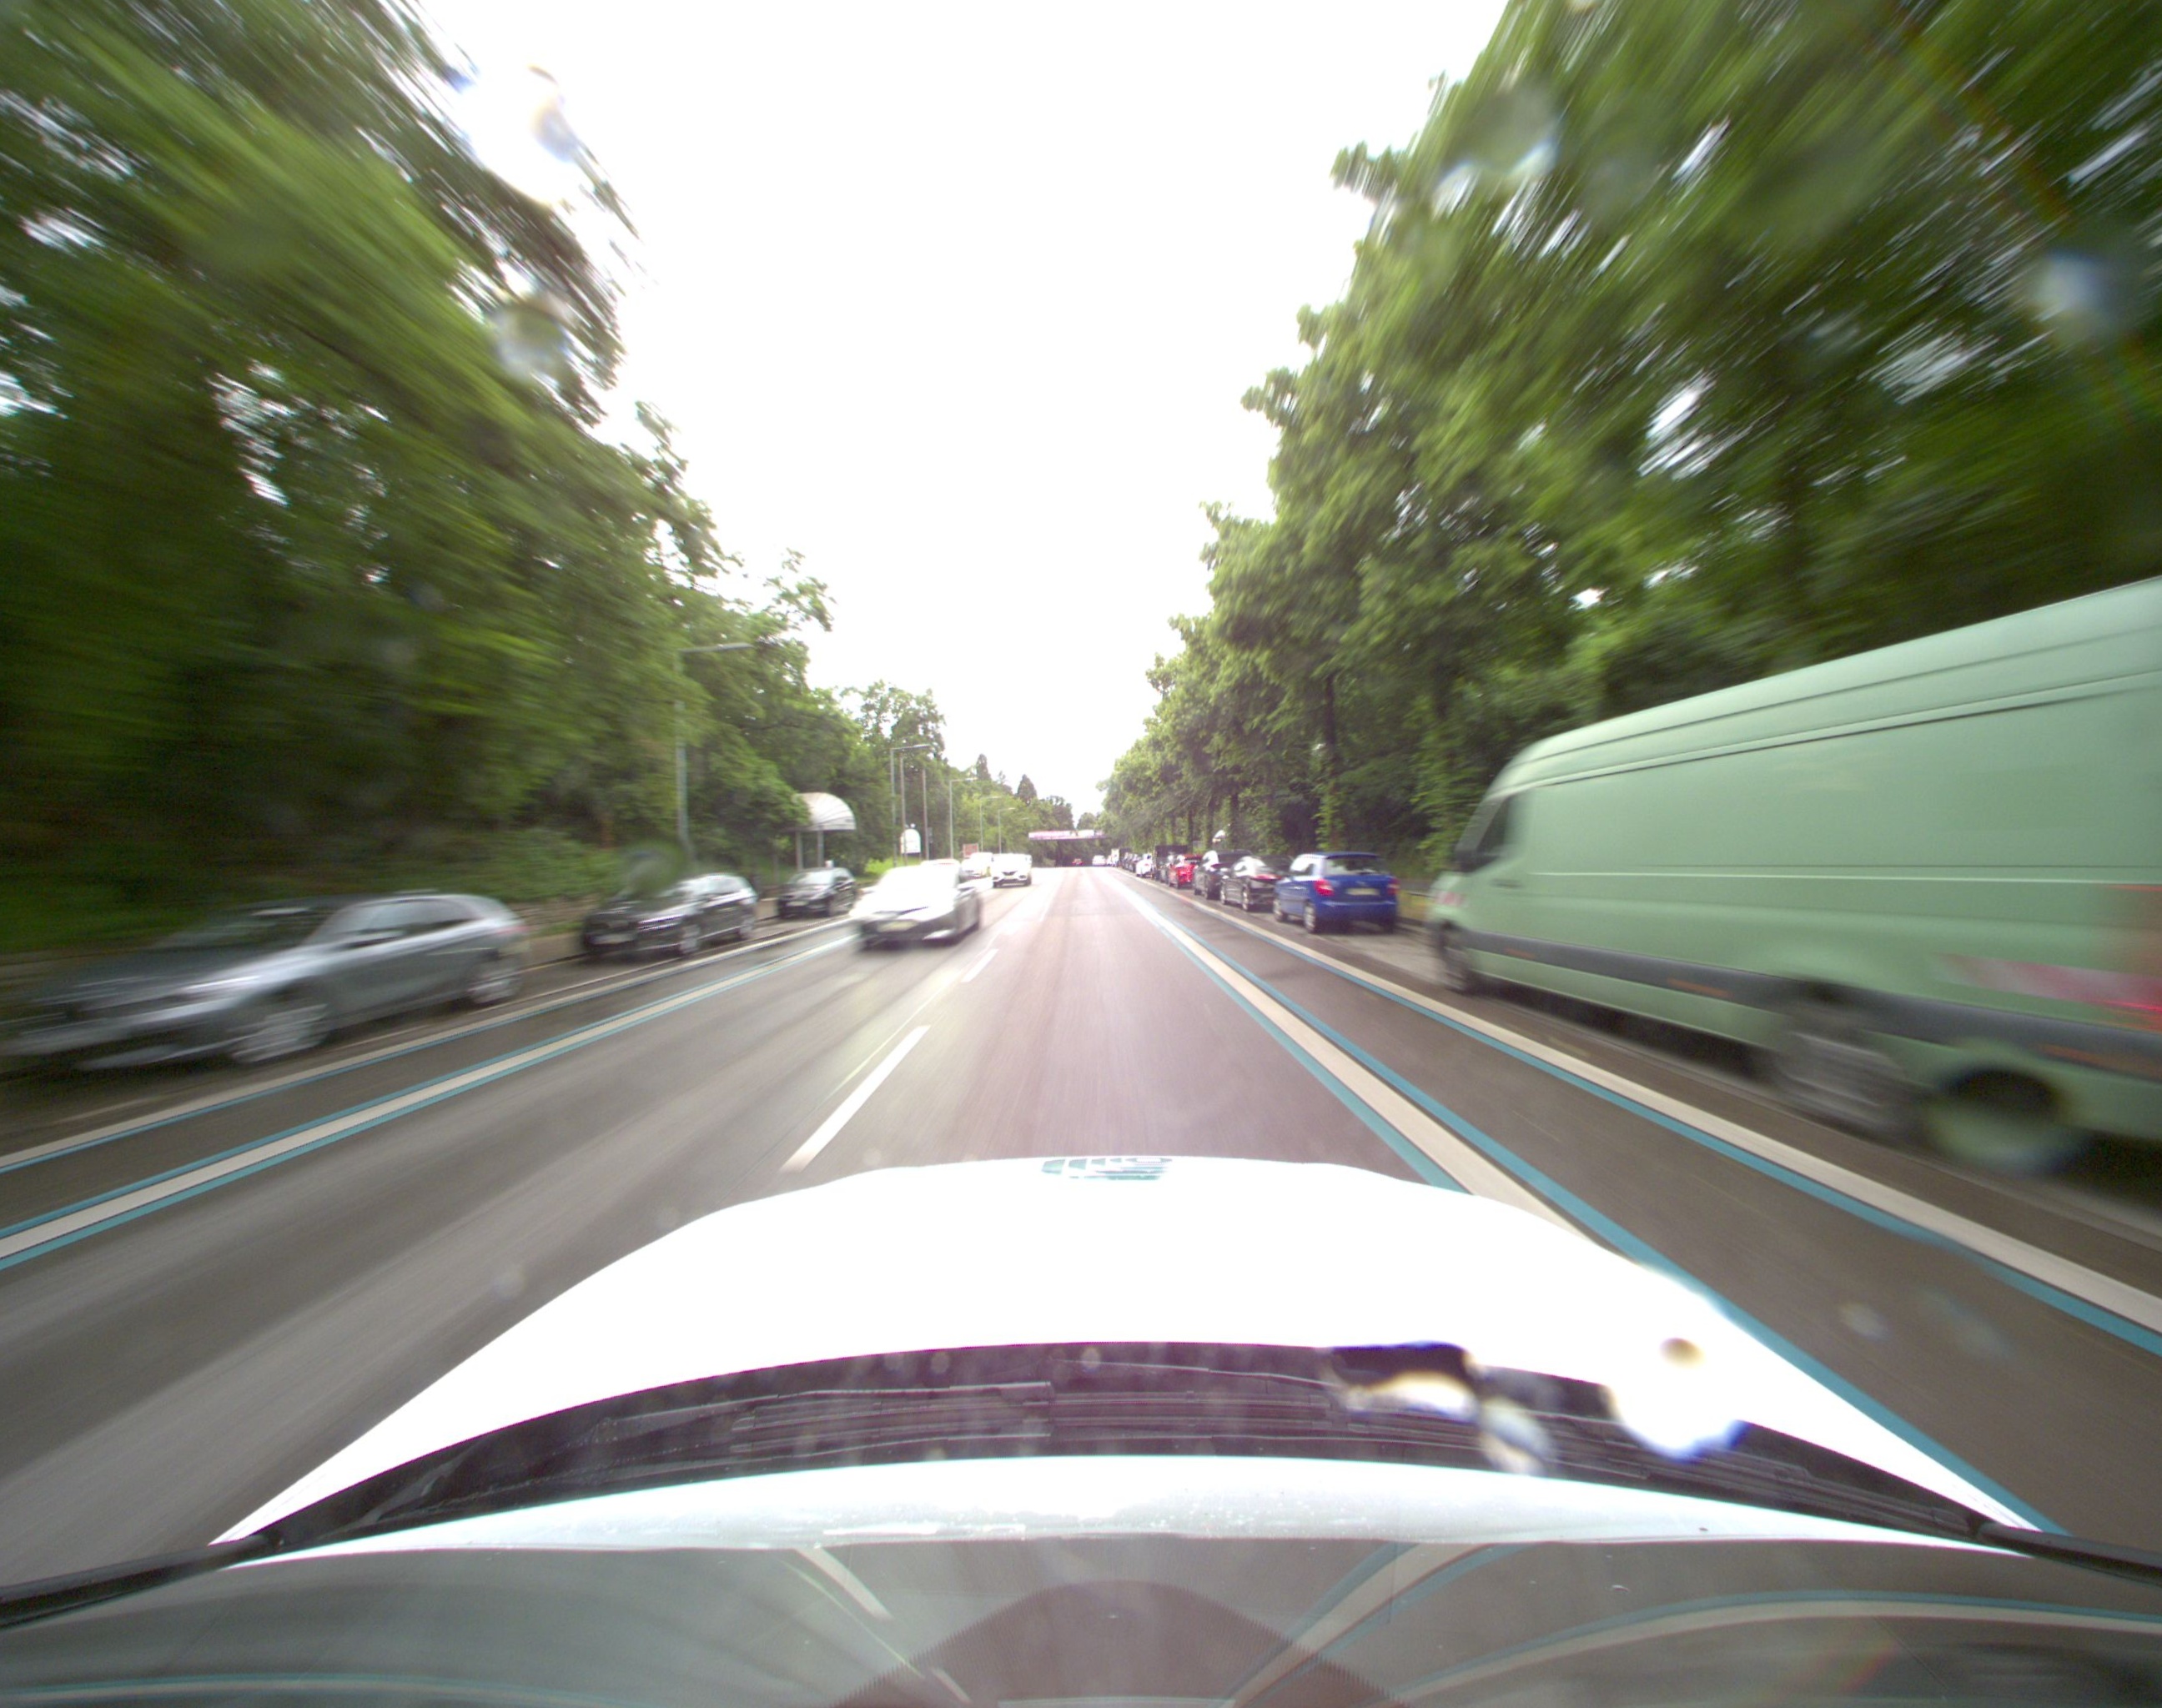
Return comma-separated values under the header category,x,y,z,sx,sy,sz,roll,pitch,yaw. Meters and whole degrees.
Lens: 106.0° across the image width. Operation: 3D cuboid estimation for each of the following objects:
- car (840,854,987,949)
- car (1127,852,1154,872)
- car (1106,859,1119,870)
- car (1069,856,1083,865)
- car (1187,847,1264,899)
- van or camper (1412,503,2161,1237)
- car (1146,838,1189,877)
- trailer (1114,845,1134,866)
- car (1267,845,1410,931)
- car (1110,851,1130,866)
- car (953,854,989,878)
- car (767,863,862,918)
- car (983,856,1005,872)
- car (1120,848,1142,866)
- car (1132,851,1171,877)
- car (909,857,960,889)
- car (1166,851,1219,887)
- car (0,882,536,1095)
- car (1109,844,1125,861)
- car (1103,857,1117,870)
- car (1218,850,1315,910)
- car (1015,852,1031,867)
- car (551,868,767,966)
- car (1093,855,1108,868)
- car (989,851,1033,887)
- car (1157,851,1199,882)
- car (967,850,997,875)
category,x,y,z,sx,sy,sz,roll,pitch,yaw
car,-3.114,0.805,16.134,1.915,1.560,4.620,-2,0,0
car,4.710,0.612,64.765,1.726,1.463,4.274,-1,0,-2
car,4.486,1.474,117.889,1.725,1.462,4.045,-2,0,1
car,-0.912,1.050,139.381,2.136,1.492,4.492,-1,0,-4
car,4.711,0.557,27.123,1.750,1.589,4.498,0,0,0
van or camper,4.980,0.041,6.190,2.036,2.729,6.897,0,0,-1
car,4.793,0.188,45.744,1.920,2.022,4.663,-1,0,0
trailer,4.690,0.156,88.888,1.878,2.166,3.808,-2,0,0
car,5.006,0.596,16.361,1.680,1.513,3.834,0,0,0
car,4.430,0.496,92.996,1.728,1.583,4.147,-2,0,-5
car,-8.360,0.891,62.287,1.983,1.605,4.985,-2,1,1
car,-8.178,1.066,25.372,1.666,1.457,3.991,-2,0,-1
car,-8.431,0.990,79.051,1.726,1.390,4.368,-2,1,-1
car,4.694,0.288,76.689,1.726,1.583,4.151,0,0,-2
car,4.325,0.592,50.620,1.784,1.543,4.885,0,0,-2
car,-7.801,0.958,43.667,2.072,1.482,4.668,-2,1,-3
car,4.720,0.594,34.957,1.680,1.453,4.165,0,0,0
car,-8.070,1.138,8.541,1.778,1.423,4.295,-2,1,0
car,4.677,-0.168,105.579,1.882,2.127,4.045,-1,0,1
car,3.971,1.271,111.184,1.725,1.684,4.045,-2,0,1
car,4.887,0.624,21.974,1.680,1.456,4.145,0,0,0
car,-8.101,0.760,114.716,1.751,1.931,4.195,-2,1,2
car,-8.004,1.090,16.056,1.952,1.463,4.751,-1,1,-3
car,2.486,0.959,106.178,1.726,1.583,4.035,-2,0,-1
car,-3.522,0.745,41.751,1.789,1.651,4.129,-3,0,0
car,4.693,0.593,39.922,1.601,1.453,3.746,0,0,0
car,-8.313,0.698,68.596,1.907,1.931,4.926,-2,1,-1
